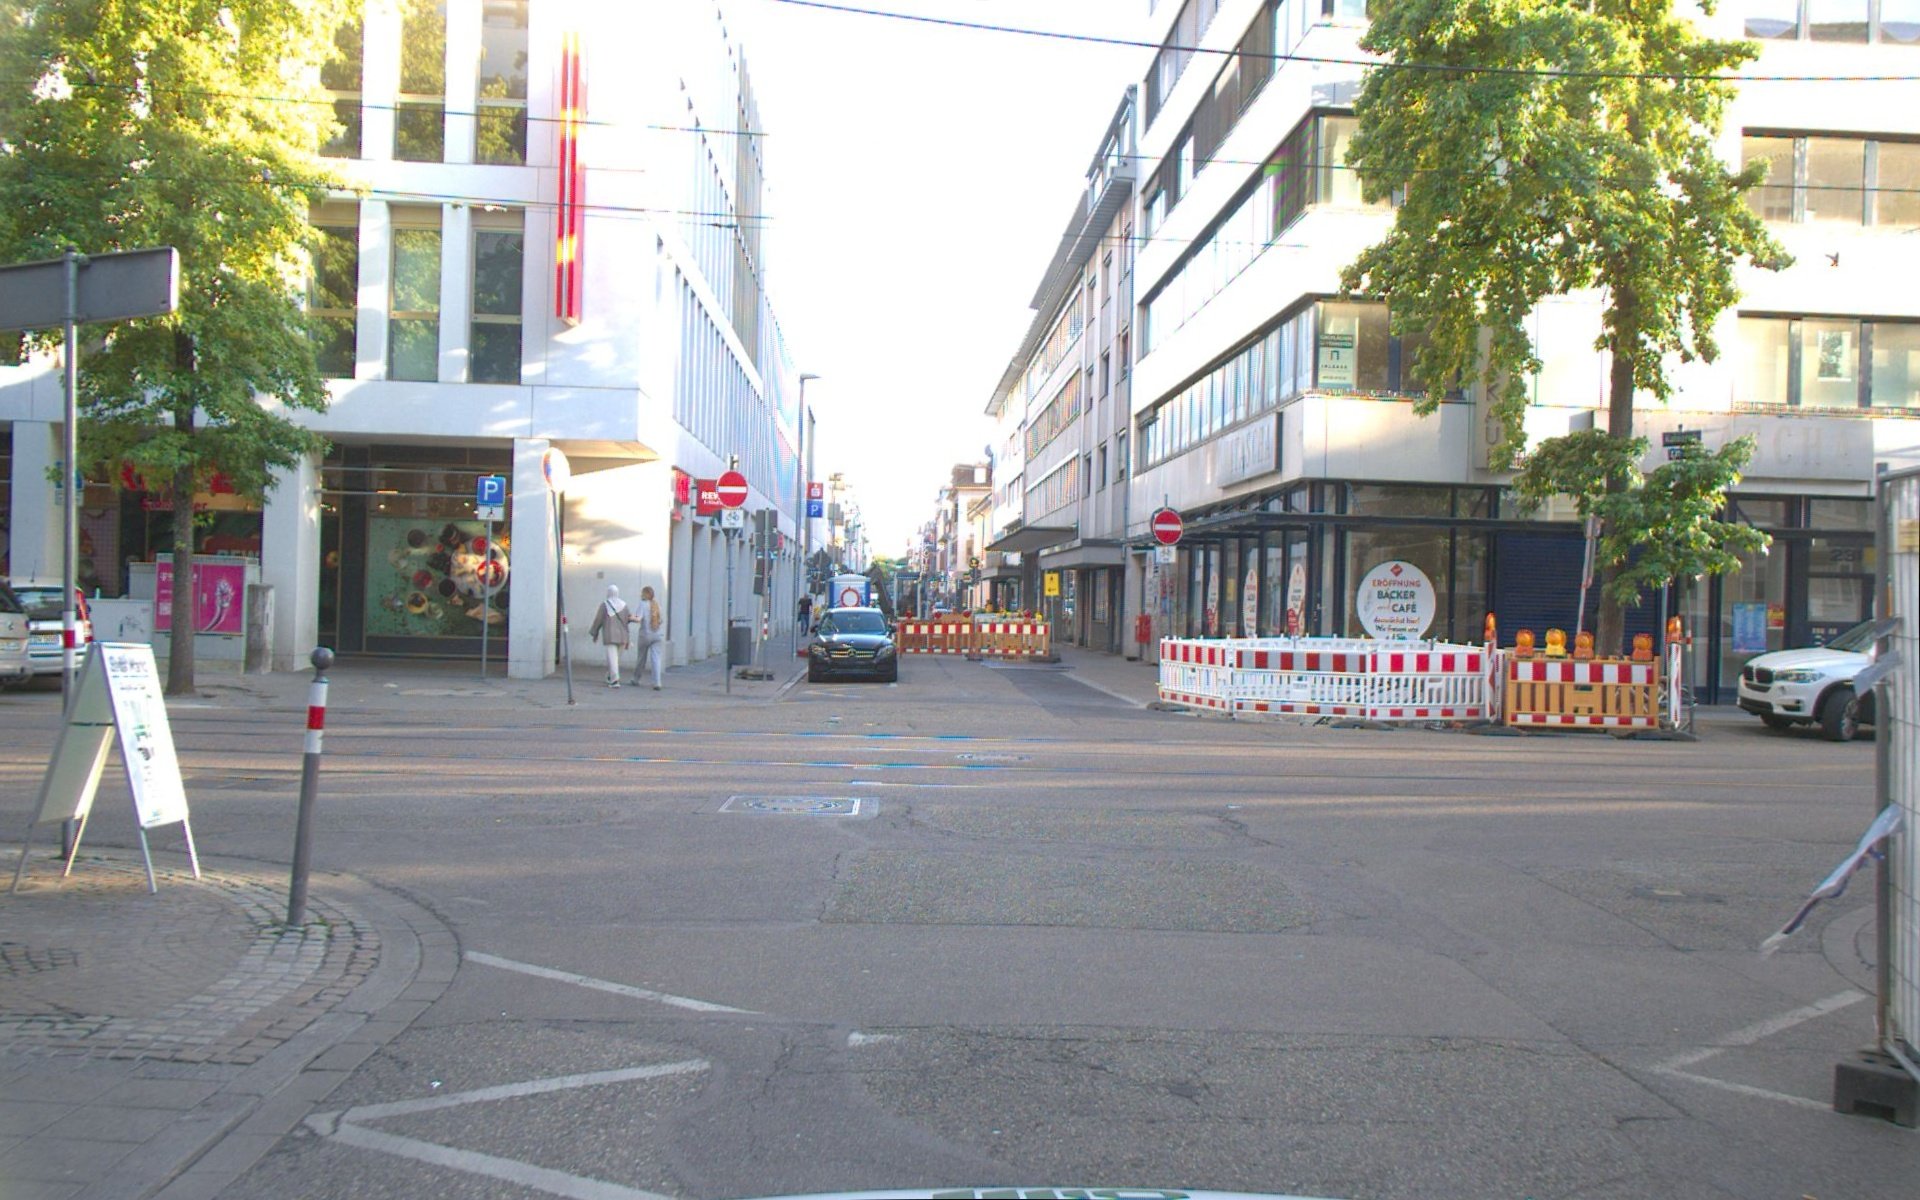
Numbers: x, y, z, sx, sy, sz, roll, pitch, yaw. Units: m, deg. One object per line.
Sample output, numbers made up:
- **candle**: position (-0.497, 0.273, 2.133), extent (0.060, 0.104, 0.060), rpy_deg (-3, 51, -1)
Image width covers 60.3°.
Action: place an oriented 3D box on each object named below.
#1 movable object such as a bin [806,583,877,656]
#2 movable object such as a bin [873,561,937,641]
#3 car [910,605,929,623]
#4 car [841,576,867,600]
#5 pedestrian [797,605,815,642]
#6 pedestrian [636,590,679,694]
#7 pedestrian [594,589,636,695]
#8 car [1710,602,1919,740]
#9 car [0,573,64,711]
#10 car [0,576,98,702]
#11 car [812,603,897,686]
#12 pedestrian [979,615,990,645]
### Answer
- **movable object such as a bin**: position (-3.448, 0.548, 48.819), extent (1.953, 2.049, 3.998), rpy_deg (0, 0, -2)
- **movable object such as a bin**: position (-1.985, 0.036, 58.832), extent (2.113, 2.710, 4.570), rpy_deg (1, 0, -3)
- **car**: position (-4.239, 1.472, 172.750), extent (1.953, 1.808, 3.998), rpy_deg (0, 0, -3)
- **car**: position (-8.180, -0.936, 128.170), extent (1.953, 1.808, 3.998), rpy_deg (0, 0, -3)
- **pedestrian**: position (-6.377, 0.973, 68.614), extent (0.701, 1.490, 0.525), rpy_deg (0, 0, 0)
- **pedestrian**: position (-4.902, 0.663, 26.760), extent (0.600, 1.656, 0.869), rpy_deg (0, 0, -16)
- **pedestrian**: position (-5.525, 0.661, 26.475), extent (0.600, 1.656, 0.869), rpy_deg (0, 0, -16)
- **car**: position (13.914, 1.048, 24.326), extent (4.832, 1.806, 2.021), rpy_deg (2, 2, -3)
- **car**: position (-13.380, 0.461, 19.835), extent (4.184, 1.621, 1.827), rpy_deg (1, -2, -2)
- **car**: position (-13.487, 0.499, 23.686), extent (1.923, 1.532, 3.960), rpy_deg (1, 2, -29)
- **car**: position (-2.176, 0.869, 33.647), extent (1.598, 1.577, 3.138), rpy_deg (1, 0, -6)
- **pedestrian**: position (1.264, 1.547, 85.646), extent (0.513, 1.490, 0.719), rpy_deg (1, 0, 5)
